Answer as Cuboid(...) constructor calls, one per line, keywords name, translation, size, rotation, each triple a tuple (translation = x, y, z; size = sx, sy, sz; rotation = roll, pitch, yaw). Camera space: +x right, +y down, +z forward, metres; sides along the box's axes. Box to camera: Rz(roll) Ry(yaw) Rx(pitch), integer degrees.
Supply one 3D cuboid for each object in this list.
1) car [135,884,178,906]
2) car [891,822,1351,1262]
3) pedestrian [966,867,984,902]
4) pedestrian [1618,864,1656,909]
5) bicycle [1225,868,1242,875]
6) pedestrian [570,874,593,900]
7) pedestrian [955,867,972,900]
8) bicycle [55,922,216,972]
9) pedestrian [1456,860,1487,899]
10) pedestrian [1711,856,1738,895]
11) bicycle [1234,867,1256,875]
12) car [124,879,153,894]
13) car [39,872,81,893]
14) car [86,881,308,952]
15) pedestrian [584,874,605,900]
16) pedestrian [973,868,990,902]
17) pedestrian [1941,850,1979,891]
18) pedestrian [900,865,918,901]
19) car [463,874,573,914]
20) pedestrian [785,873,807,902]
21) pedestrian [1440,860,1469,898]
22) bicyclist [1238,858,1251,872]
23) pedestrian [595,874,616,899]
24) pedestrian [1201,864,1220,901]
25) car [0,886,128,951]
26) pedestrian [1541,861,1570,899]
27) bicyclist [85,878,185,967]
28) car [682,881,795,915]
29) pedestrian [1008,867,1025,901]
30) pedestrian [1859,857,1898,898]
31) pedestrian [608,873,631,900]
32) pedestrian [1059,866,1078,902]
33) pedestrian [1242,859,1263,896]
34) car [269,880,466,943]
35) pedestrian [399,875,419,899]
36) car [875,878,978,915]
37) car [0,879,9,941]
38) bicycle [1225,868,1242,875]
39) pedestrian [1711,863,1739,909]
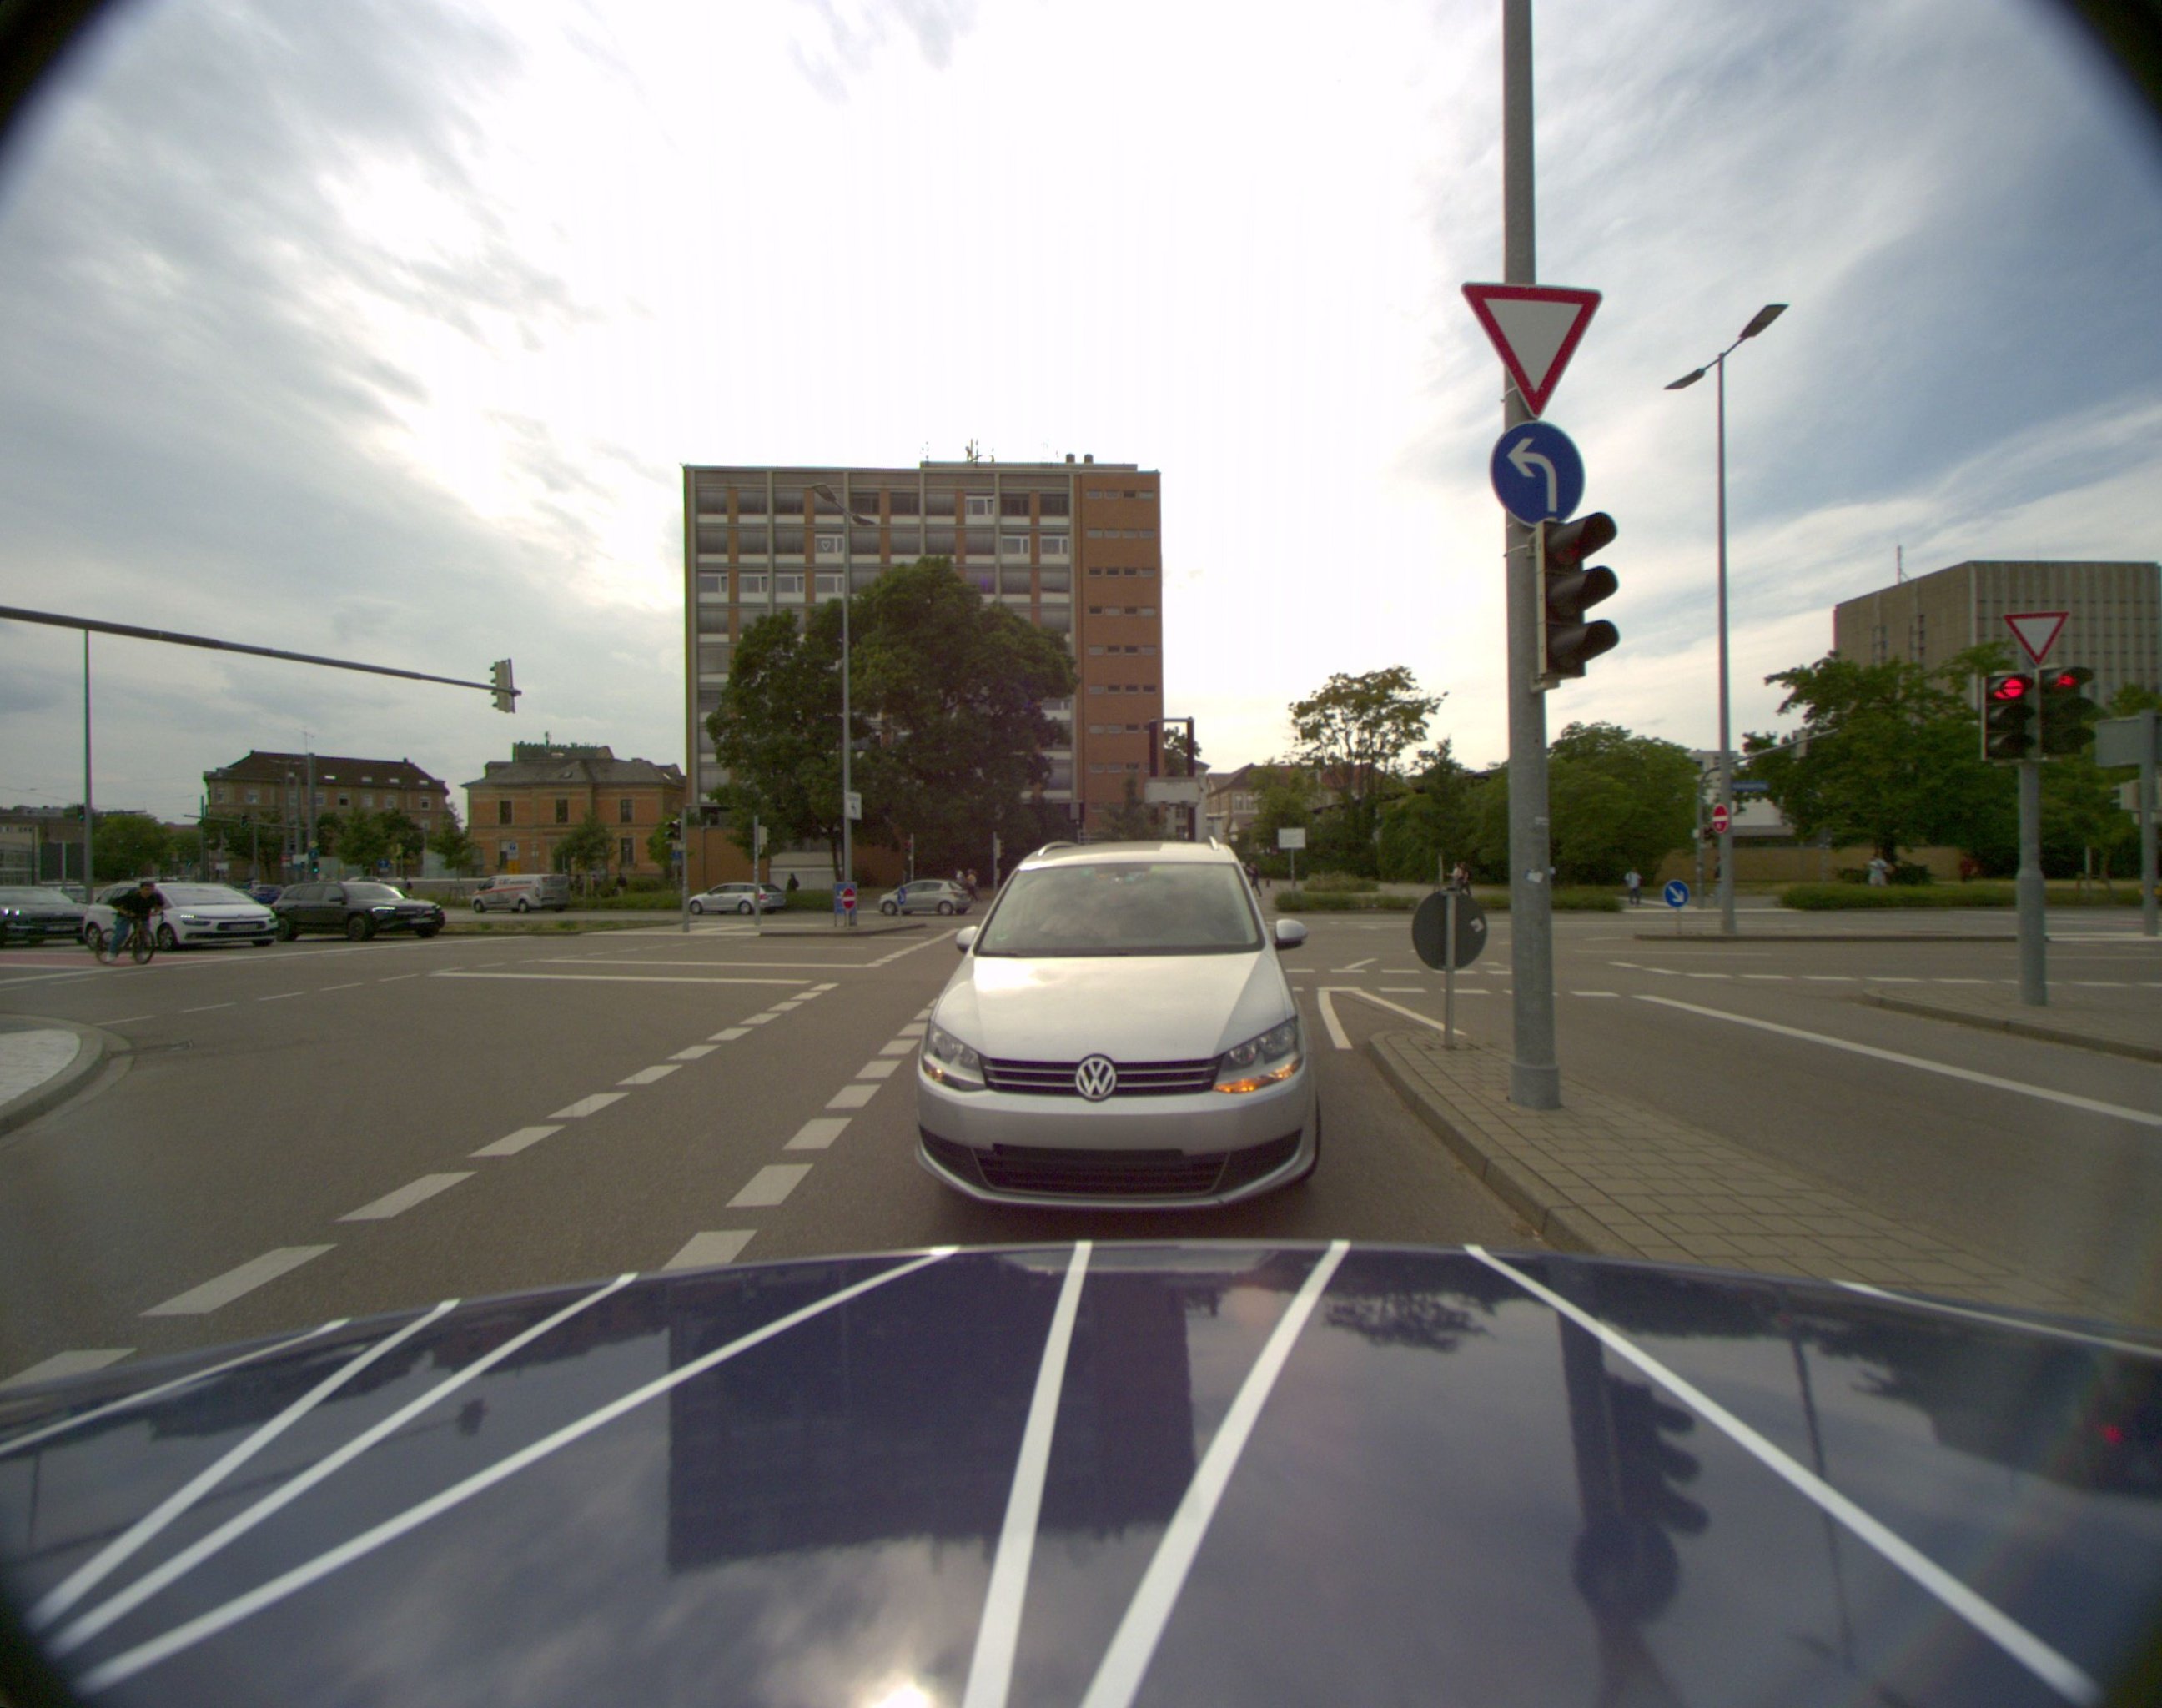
Cuboid(name="car", translation=(-87.075, 3.904, 71.568), size=(3.990, 2.001, 2.004), rotation=(-2, -3, 31))
Cuboid(name="car", translation=(0.311, 0.847, 5.320), size=(1.823, 1.723, 4.532), rotation=(-1, -2, 4))
Cuboid(name="pedestrian", translation=(-5.240, 1.529, 37.707), size=(0.707, 1.701, 0.640), rotation=(-1, 1, 5))
Cuboid(name="pedestrian", translation=(21.547, 1.262, 29.469), size=(0.838, 1.700, 0.800), rotation=(-1, -2, 7))
Cuboid(name="bicycle", translation=(17.077, 1.960, 85.037), size=(1.842, 0.689, 0.653), rotation=(-1, -2, 10))
Cuboid(name="pedestrian", translation=(-30.370, 2.010, 46.181), size=(0.810, 1.565, 0.781), rotation=(-1, 1, 24))
Cuboid(name="pedestrian", translation=(-6.080, 1.526, 39.390), size=(0.707, 1.701, 0.640), rotation=(-1, 0, 5))
Cuboid(name="bicycle", translation=(-18.112, 1.763, 14.571), size=(2.515, 0.871, 0.866), rotation=(-1, -2, 11))
Cuboid(name="pedestrian", translation=(17.387, 1.135, 33.836), size=(0.800, 1.700, 0.839), rotation=(-1, -2, -13))
Cuboid(name="pedestrian", translation=(27.954, 0.934, 32.993), size=(0.694, 1.686, 0.544), rotation=(-1, 2, -1))
Cuboid(name="bicycle", translation=(15.445, 1.639, 71.568), size=(1.845, 0.689, 0.843), rotation=(-1, -2, -10))
Cuboid(name="car", translation=(-102.294, 3.514, 82.461), size=(3.537, 1.605, 1.845), rotation=(-3, -3, 37))
Cuboid(name="car", translation=(-94.443, 2.656, 70.270), size=(3.989, 1.911, 2.005), rotation=(-2, -3, 32))
Cuboid(name="car", translation=(-22.055, 1.535, 19.013), size=(4.282, 1.640, 2.003), rotation=(-2, -2, 16))
Cuboid(name="pedestrian", translation=(-30.482, 2.073, 47.596), size=(0.810, 1.565, 0.781), rotation=(-1, 1, 24))
Cuboid(name="pedestrian", translation=(-5.062, 1.582, 38.513), size=(0.707, 1.700, 0.640), rotation=(-1, -2, 5))
Cuboid(name="pedestrian", translation=(37.338, 0.721, 32.269), size=(0.694, 1.700, 0.715), rotation=(-1, -2, 2))
Cuboid(name="pedestrian", translation=(-9.039, 1.510, 39.849), size=(0.707, 1.841, 0.640), rotation=(-1, 0, 5))
Cuboid(name="car", translation=(-28.815, 2.064, 38.898), size=(5.194, 1.947, 1.828), rotation=(-2, -2, 17))
Cuboid(name="pedestrian", translation=(-15.941, 1.863, 42.514), size=(0.811, 1.565, 0.780), rotation=(-1, 1, 5))
Cuboid(name="pedestrian", translation=(17.018, 1.163, 34.614), size=(0.800, 1.700, 0.839), rotation=(-1, -2, -13))
Cuboid(name="bicyclist", translation=(15.402, 1.071, 71.586), size=(1.013, 1.269, 0.839), rotation=(-1, -2, -9))
Cuboid(name="pedestrian", translation=(-30.645, 2.067, 48.938), size=(0.810, 1.565, 0.782), rotation=(-1, 1, 28))
Cuboid(name="pedestrian", translation=(6.074, 1.347, 35.733), size=(0.799, 1.700, 0.840), rotation=(-1, -2, 5))
Cuboid(name="car", translation=(-29.001, 1.738, 20.880), size=(4.282, 1.640, 2.003), rotation=(-2, -2, 16))
Cuboid(name="pedestrian", translation=(21.187, 1.167, 33.960), size=(0.799, 1.700, 0.715), rotation=(-1, -2, -1))
Cuboid(name="bicyclist", translation=(-18.131, 1.297, 14.584), size=(0.879, 1.658, 0.871), rotation=(-1, -2, 11))
Cuboid(name="car", translation=(-15.496, 1.993, 34.423), size=(4.520, 1.465, 1.828), rotation=(-2, -2, 15))
Cuboid(name="pedestrian", translation=(-3.268, 1.537, 38.756), size=(0.707, 1.701, 0.640), rotation=(-1, 2, 5))
Cuboid(name="pedestrian", translation=(34.069, 1.014, 32.477), size=(0.694, 1.700, 0.842), rotation=(-1, -2, -1))
Cuboid(name="pedestrian", translation=(-27.955, 1.962, 46.038), size=(0.810, 1.565, 0.781), rotation=(-1, 1, 24))
Cuboid(name="pedestrian", translation=(-0.590, 1.425, 35.994), size=(0.799, 1.700, 0.840), rotation=(-1, -2, 5))
Cuboid(name="pedestrian", translation=(8.187, 1.123, 36.299), size=(0.799, 1.700, 0.840), rotation=(-1, -2, 5))
Cuboid(name="car", translation=(-19.993, 1.598, 21.342), size=(4.503, 1.640, 2.003), rotation=(-2, -2, 16))
Cuboid(name="pedestrian", translation=(-46.464, 2.268, 52.554), size=(0.810, 1.565, 0.782), rotation=(-1, 1, 28))
Cuboid(name="car", translation=(-6.469, 1.793, 31.960), size=(3.868, 1.480, 1.674), rotation=(-2, -2, 14))
Cuboid(name="car", translation=(-35.112, 1.741, 22.847), size=(4.282, 1.886, 2.003), rotation=(-2, -2, 16))
Cuboid(name="bicycle", translation=(16.691, 1.888, 83.221), size=(1.842, 0.689, 0.653), rotation=(-1, -2, 10))
Cuboid(name="pedestrian", translation=(24.198, 1.188, 28.557), size=(0.587, 1.700, 0.481), rotation=(-1, -2, 7))
